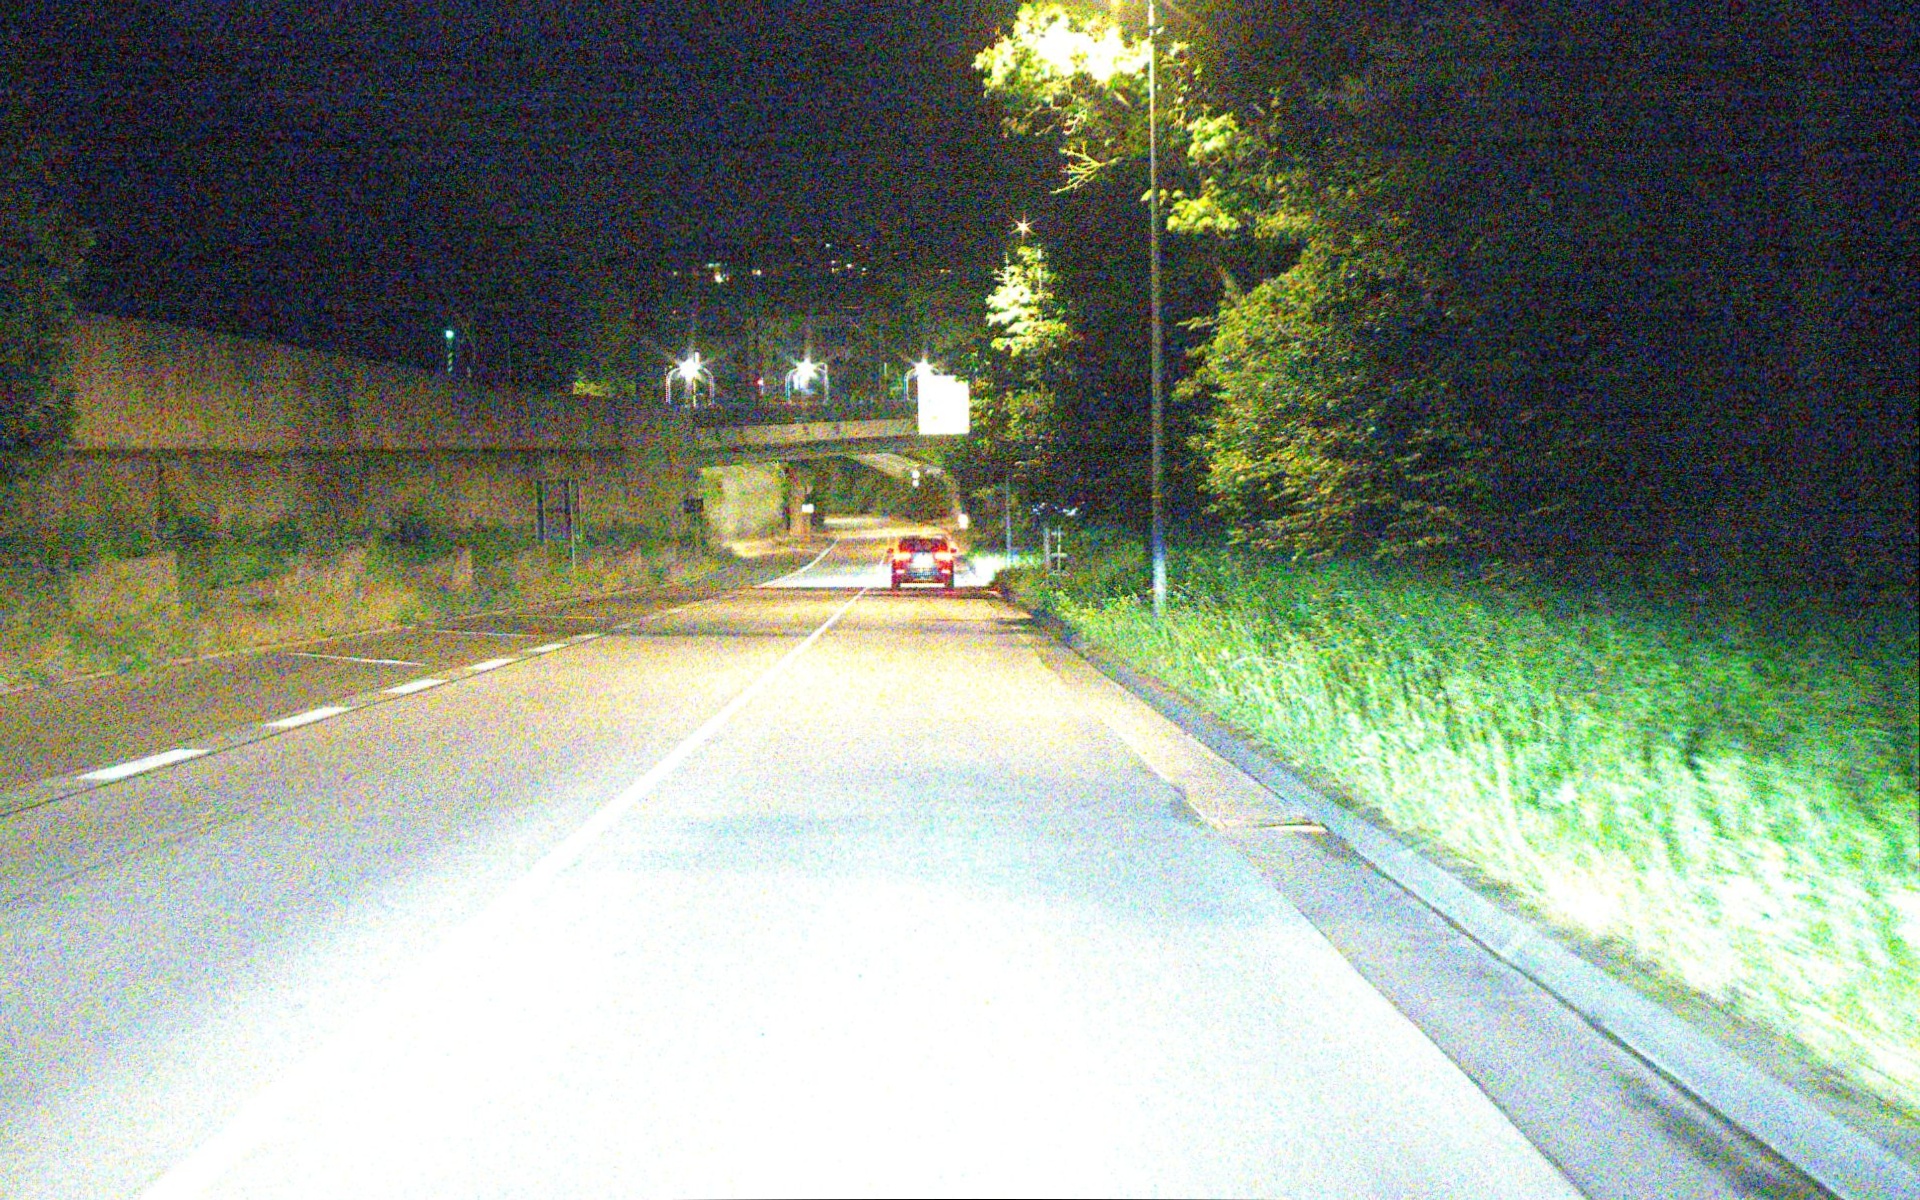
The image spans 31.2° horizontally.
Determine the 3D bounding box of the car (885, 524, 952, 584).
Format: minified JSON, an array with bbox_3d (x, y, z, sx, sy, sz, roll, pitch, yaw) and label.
[{"bbox_3d":[-1.188,-1.350,99.983,1.763,1.636,3.723,0,2,2],"label":"car"}]
